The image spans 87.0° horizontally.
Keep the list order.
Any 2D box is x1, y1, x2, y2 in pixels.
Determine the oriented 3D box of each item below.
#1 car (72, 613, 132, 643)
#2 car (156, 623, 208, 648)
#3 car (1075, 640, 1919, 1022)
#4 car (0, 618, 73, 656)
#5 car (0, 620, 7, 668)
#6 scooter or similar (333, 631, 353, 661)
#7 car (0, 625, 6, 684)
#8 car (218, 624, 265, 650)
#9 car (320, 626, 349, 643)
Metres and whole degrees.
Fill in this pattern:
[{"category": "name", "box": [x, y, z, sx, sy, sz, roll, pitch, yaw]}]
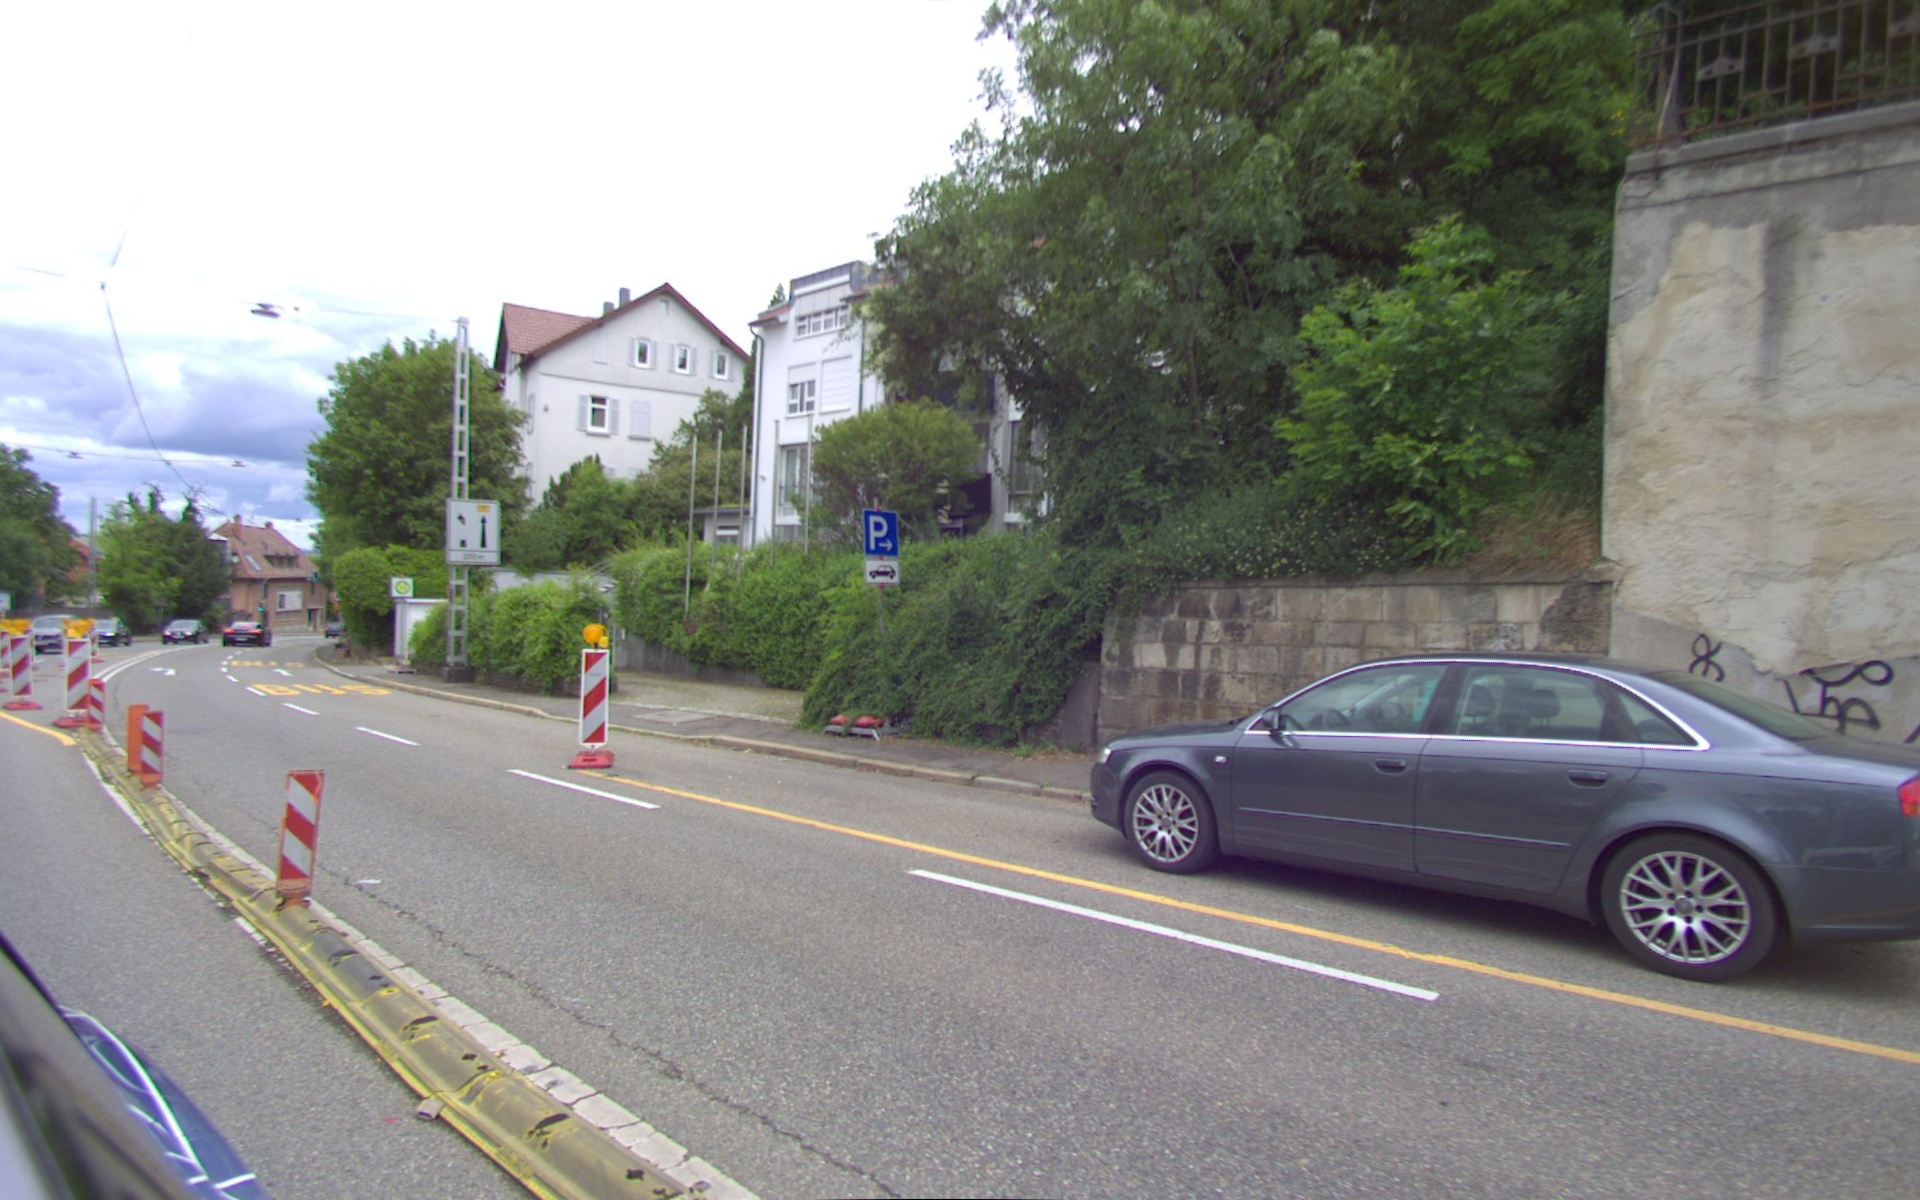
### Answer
[{"category": "car", "box": [-44.733, 1.434, 52.851, 1.769, 1.522, 4.012, 1, -1, -31]}, {"category": "car", "box": [-46.860, 2.118, 61.009, 1.762, 1.492, 4.258, 0, -2, -28]}, {"category": "car", "box": [2.937, 0.957, 5.693, 4.390, 1.383, 1.779, -1, -4, 45]}, {"category": "car", "box": [-39.329, 1.568, 42.963, 1.769, 1.522, 4.012, 3, -3, -31]}, {"category": "car", "box": [-32.071, 1.428, 32.568, 1.765, 1.563, 4.251, 1, -2, -40]}, {"category": "scooter or similar", "box": [-26.085, 1.938, 42.776, 0.423, 1.218, 1.282, -1, 0, -45]}, {"category": "car", "box": [-24.432, 1.358, 24.416, 1.765, 1.492, 4.252, 1, -2, -40]}, {"category": "car", "box": [-41.254, 2.144, 58.199, 1.796, 1.402, 4.451, 3, -3, -31]}, {"category": "car", "box": [-57.505, 3.200, 93.110, 1.690, 1.472, 4.013, 3, -3, -25]}]
